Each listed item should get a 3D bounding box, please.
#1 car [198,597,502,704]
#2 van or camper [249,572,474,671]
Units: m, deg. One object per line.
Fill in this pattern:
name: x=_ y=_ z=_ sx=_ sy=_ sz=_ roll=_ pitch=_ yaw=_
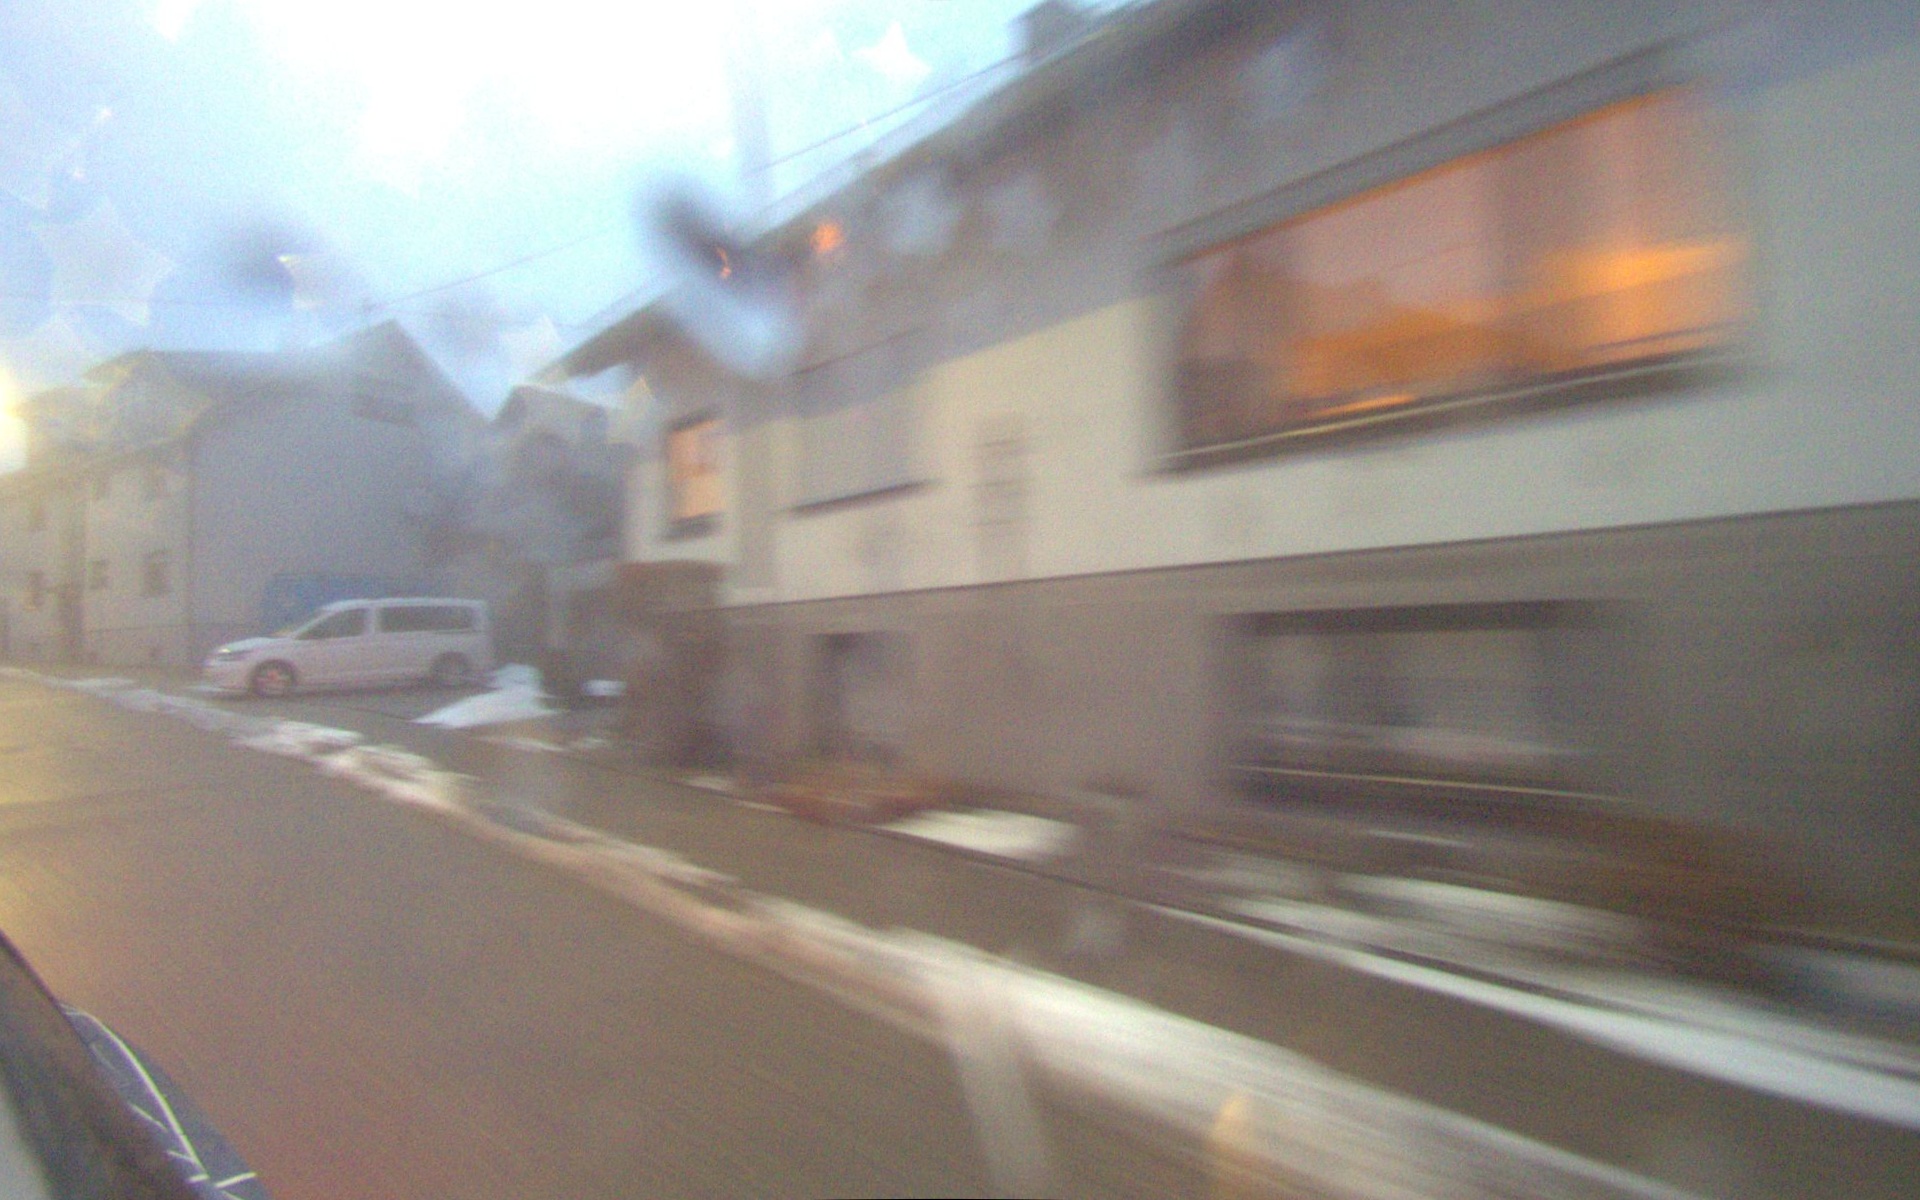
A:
car: x=-11.663 y=0.877 z=19.579 sx=4.734 sy=1.679 sz=1.892 roll=-2 pitch=0 yaw=-43
van or camper: x=-16.383 y=0.615 z=28.118 sx=2.128 sy=2.467 sz=5.273 roll=-1 pitch=-2 yaw=18
